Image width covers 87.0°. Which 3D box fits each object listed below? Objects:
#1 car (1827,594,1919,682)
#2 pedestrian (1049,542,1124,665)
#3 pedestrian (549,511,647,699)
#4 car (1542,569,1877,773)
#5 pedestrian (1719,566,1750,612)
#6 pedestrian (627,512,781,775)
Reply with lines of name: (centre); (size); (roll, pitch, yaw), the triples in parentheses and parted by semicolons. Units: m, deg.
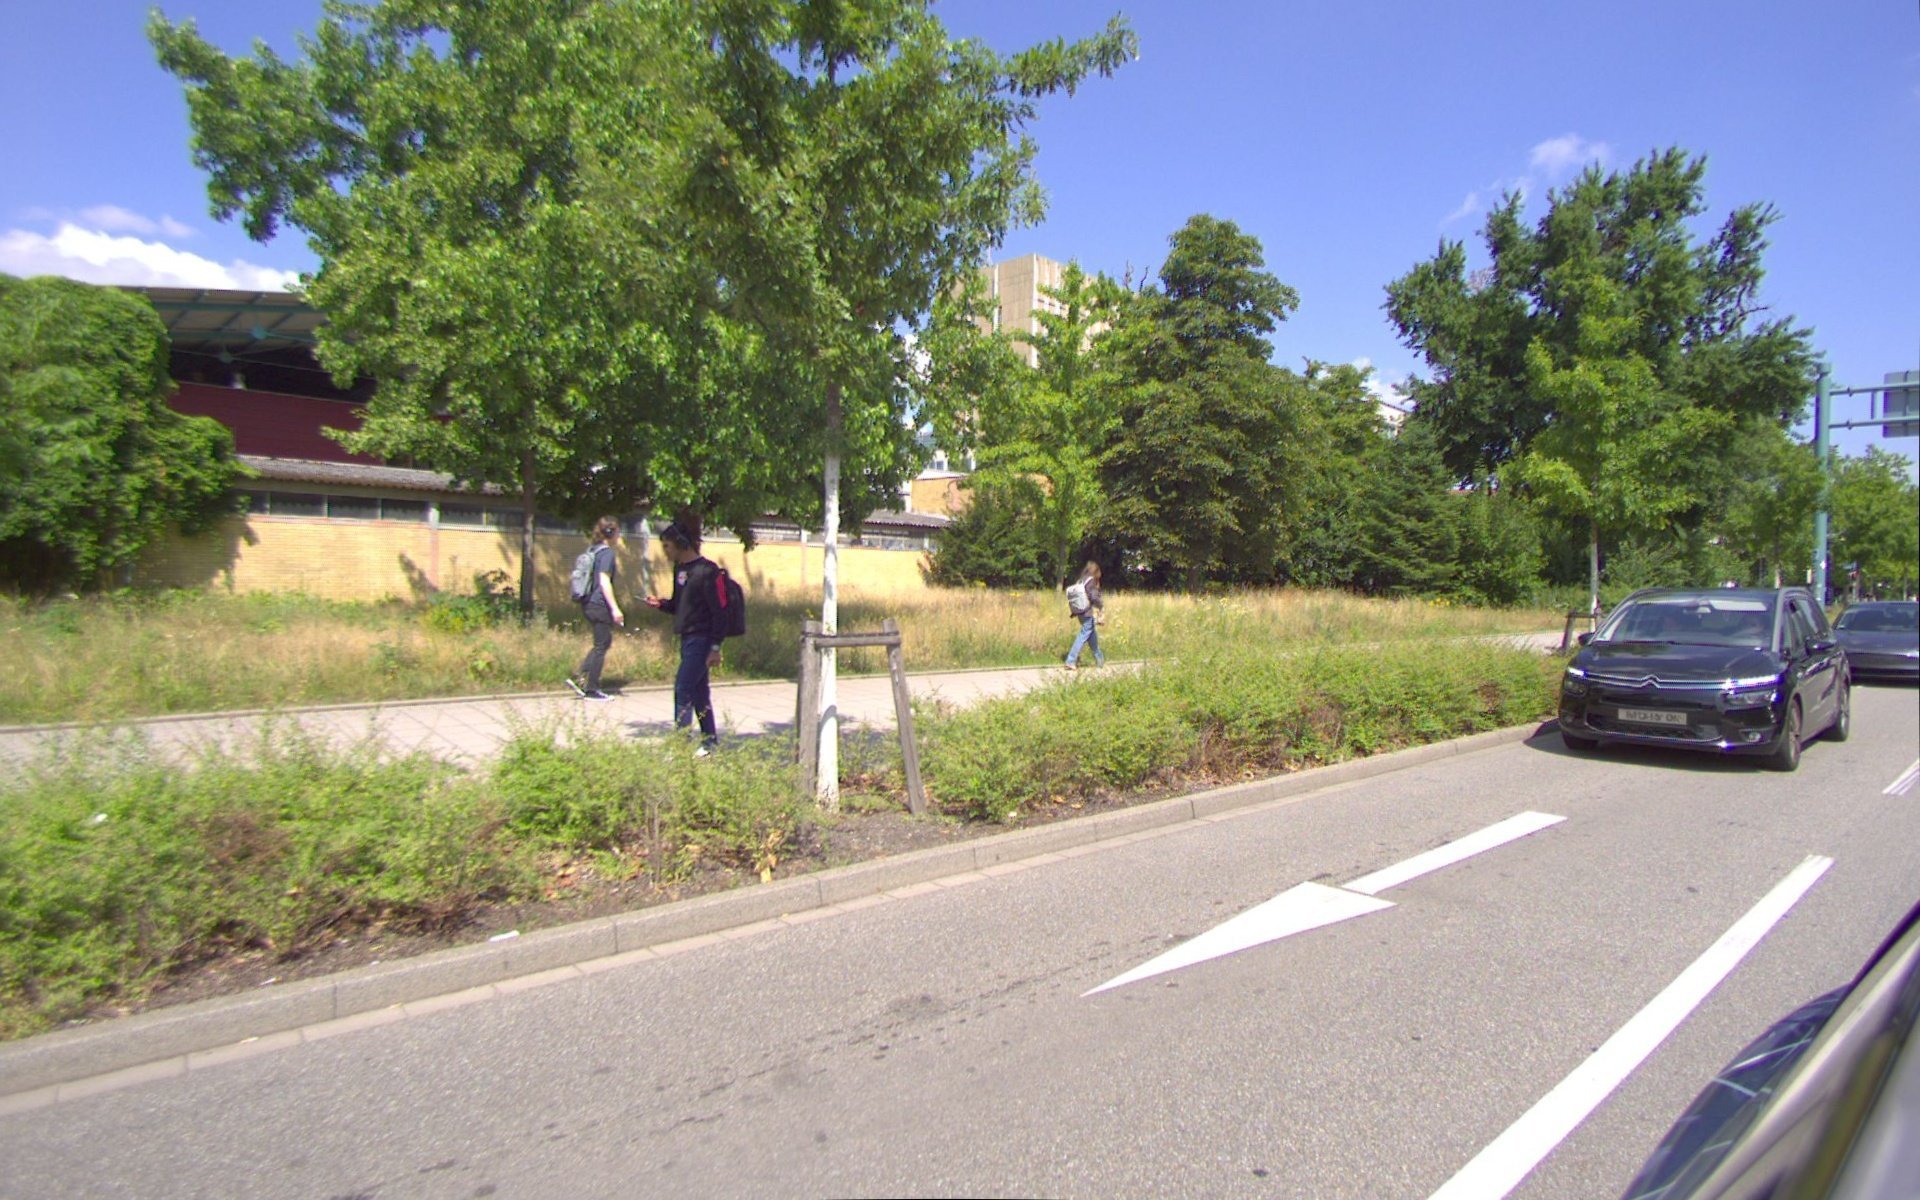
car: (16.913, 0.615, 18.067); (4.291, 1.436, 1.762); (0, -1, -44)
pedestrian: (1.903, 0.037, 15.197); (0.863, 1.771, 0.667); (0, 2, -42)
pedestrian: (-3.591, 0.027, 10.029); (0.656, 1.771, 0.750); (0, 2, -42)
car: (7.782, 0.581, 10.336); (4.442, 1.643, 1.860); (0, -1, -42)
pedestrian: (31.125, -0.445, 40.673); (0.827, 1.787, 0.843); (-1, 0, -42)
pedestrian: (-1.855, 0.276, 7.332); (0.833, 1.771, 0.667); (0, 2, -42)
